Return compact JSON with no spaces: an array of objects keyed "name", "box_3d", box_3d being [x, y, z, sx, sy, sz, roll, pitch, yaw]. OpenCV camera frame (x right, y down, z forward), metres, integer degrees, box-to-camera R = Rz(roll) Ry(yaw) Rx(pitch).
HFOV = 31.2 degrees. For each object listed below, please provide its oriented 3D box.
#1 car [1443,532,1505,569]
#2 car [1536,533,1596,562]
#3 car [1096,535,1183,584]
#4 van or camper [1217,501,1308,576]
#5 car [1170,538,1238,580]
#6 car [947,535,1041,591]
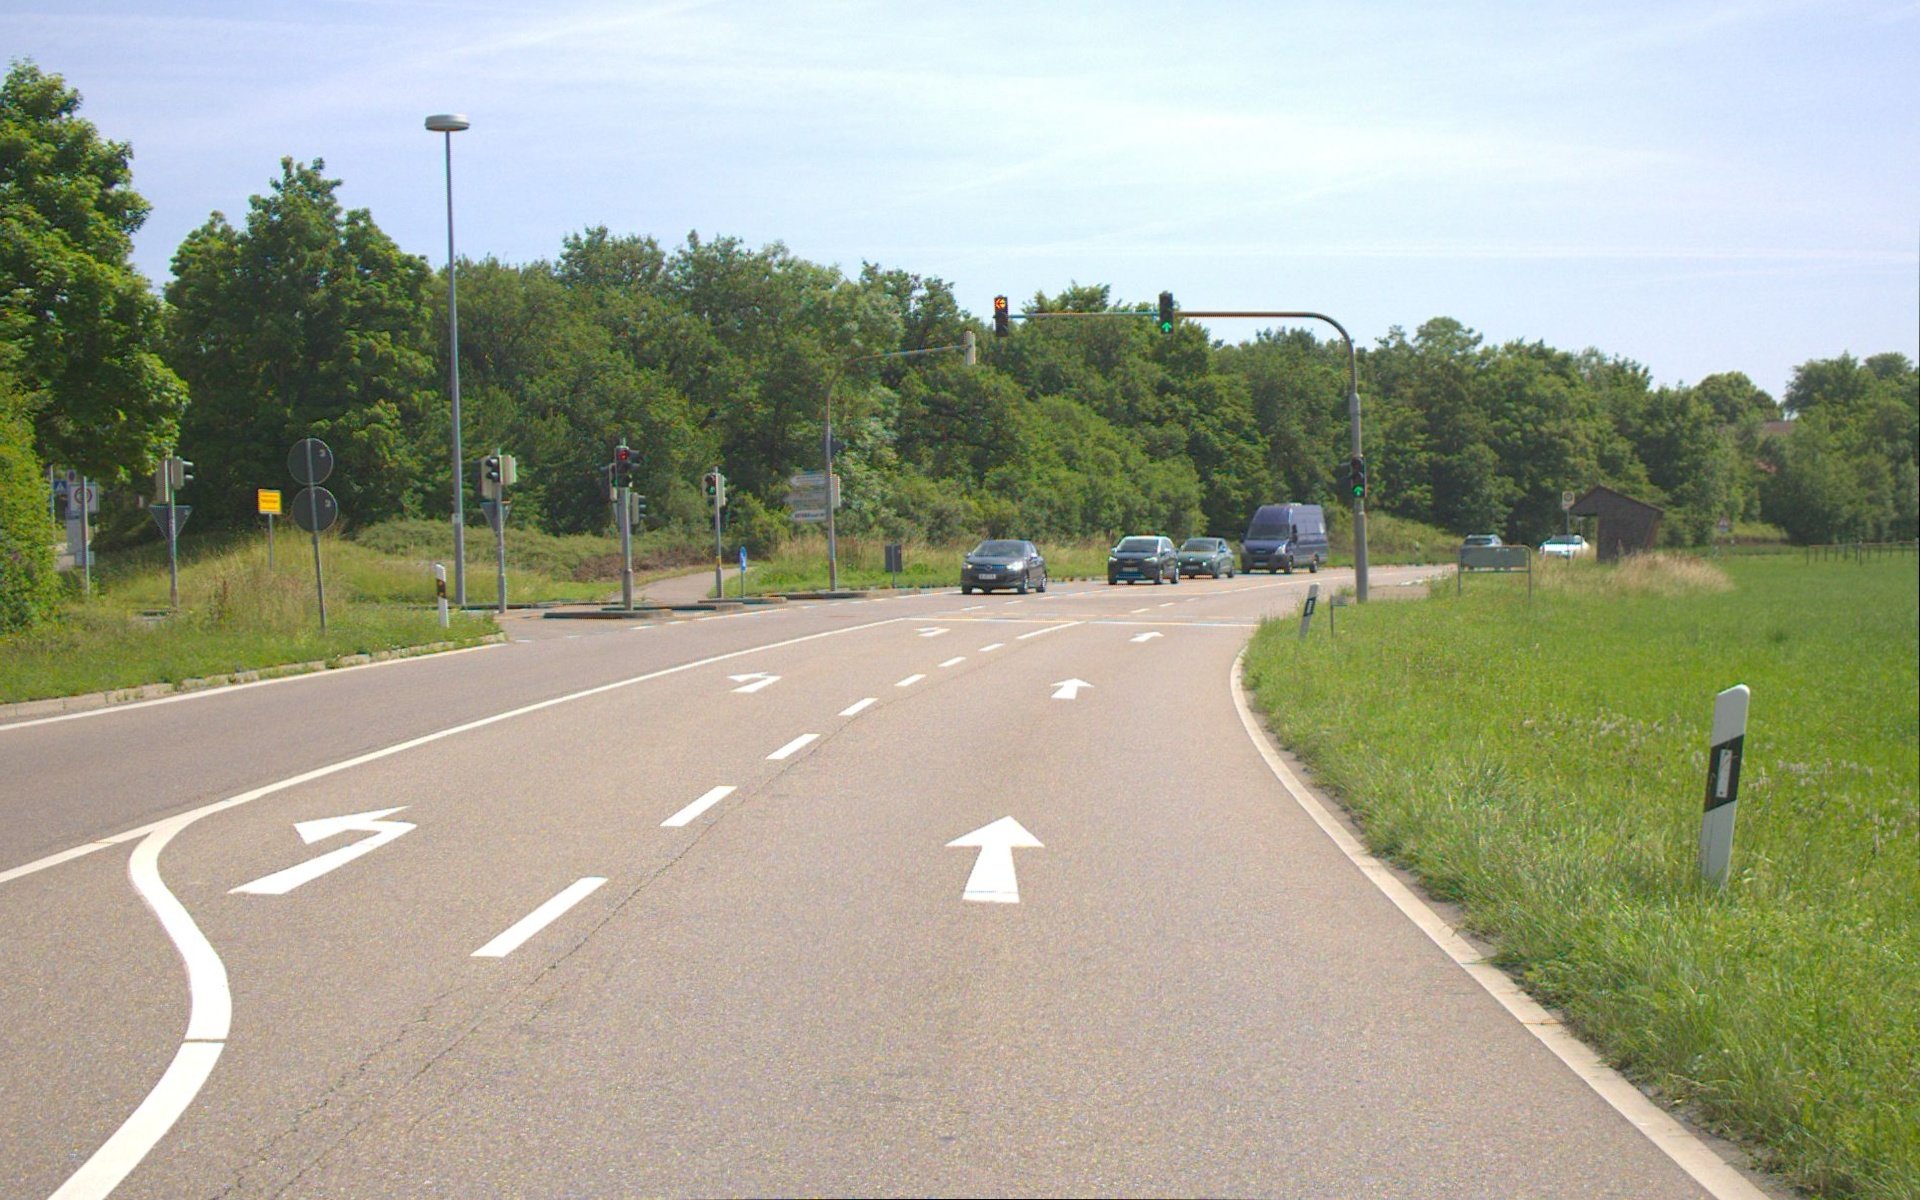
[{"name":"car","box_3d":[22.166,-2.112,148.066,1.995,1.568,3.996,0,1,18]},{"name":"car","box_3d":[32.692,-2.835,185.424,1.940,1.543,4.621,1,1,27]},{"name":"car","box_3d":[5.876,-1.321,112.109,1.975,1.557,4.186,0,1,15]},{"name":"van or camper","box_3d":[12.371,-2.555,140.086,2.241,2.904,7.242,0,2,17]},{"name":"car","box_3d":[8.948,-1.503,125.767,1.708,1.478,3.829,0,1,16]},{"name":"car","box_3d":[0.955,-1.023,93.768,1.792,1.469,4.308,0,1,11]}]
